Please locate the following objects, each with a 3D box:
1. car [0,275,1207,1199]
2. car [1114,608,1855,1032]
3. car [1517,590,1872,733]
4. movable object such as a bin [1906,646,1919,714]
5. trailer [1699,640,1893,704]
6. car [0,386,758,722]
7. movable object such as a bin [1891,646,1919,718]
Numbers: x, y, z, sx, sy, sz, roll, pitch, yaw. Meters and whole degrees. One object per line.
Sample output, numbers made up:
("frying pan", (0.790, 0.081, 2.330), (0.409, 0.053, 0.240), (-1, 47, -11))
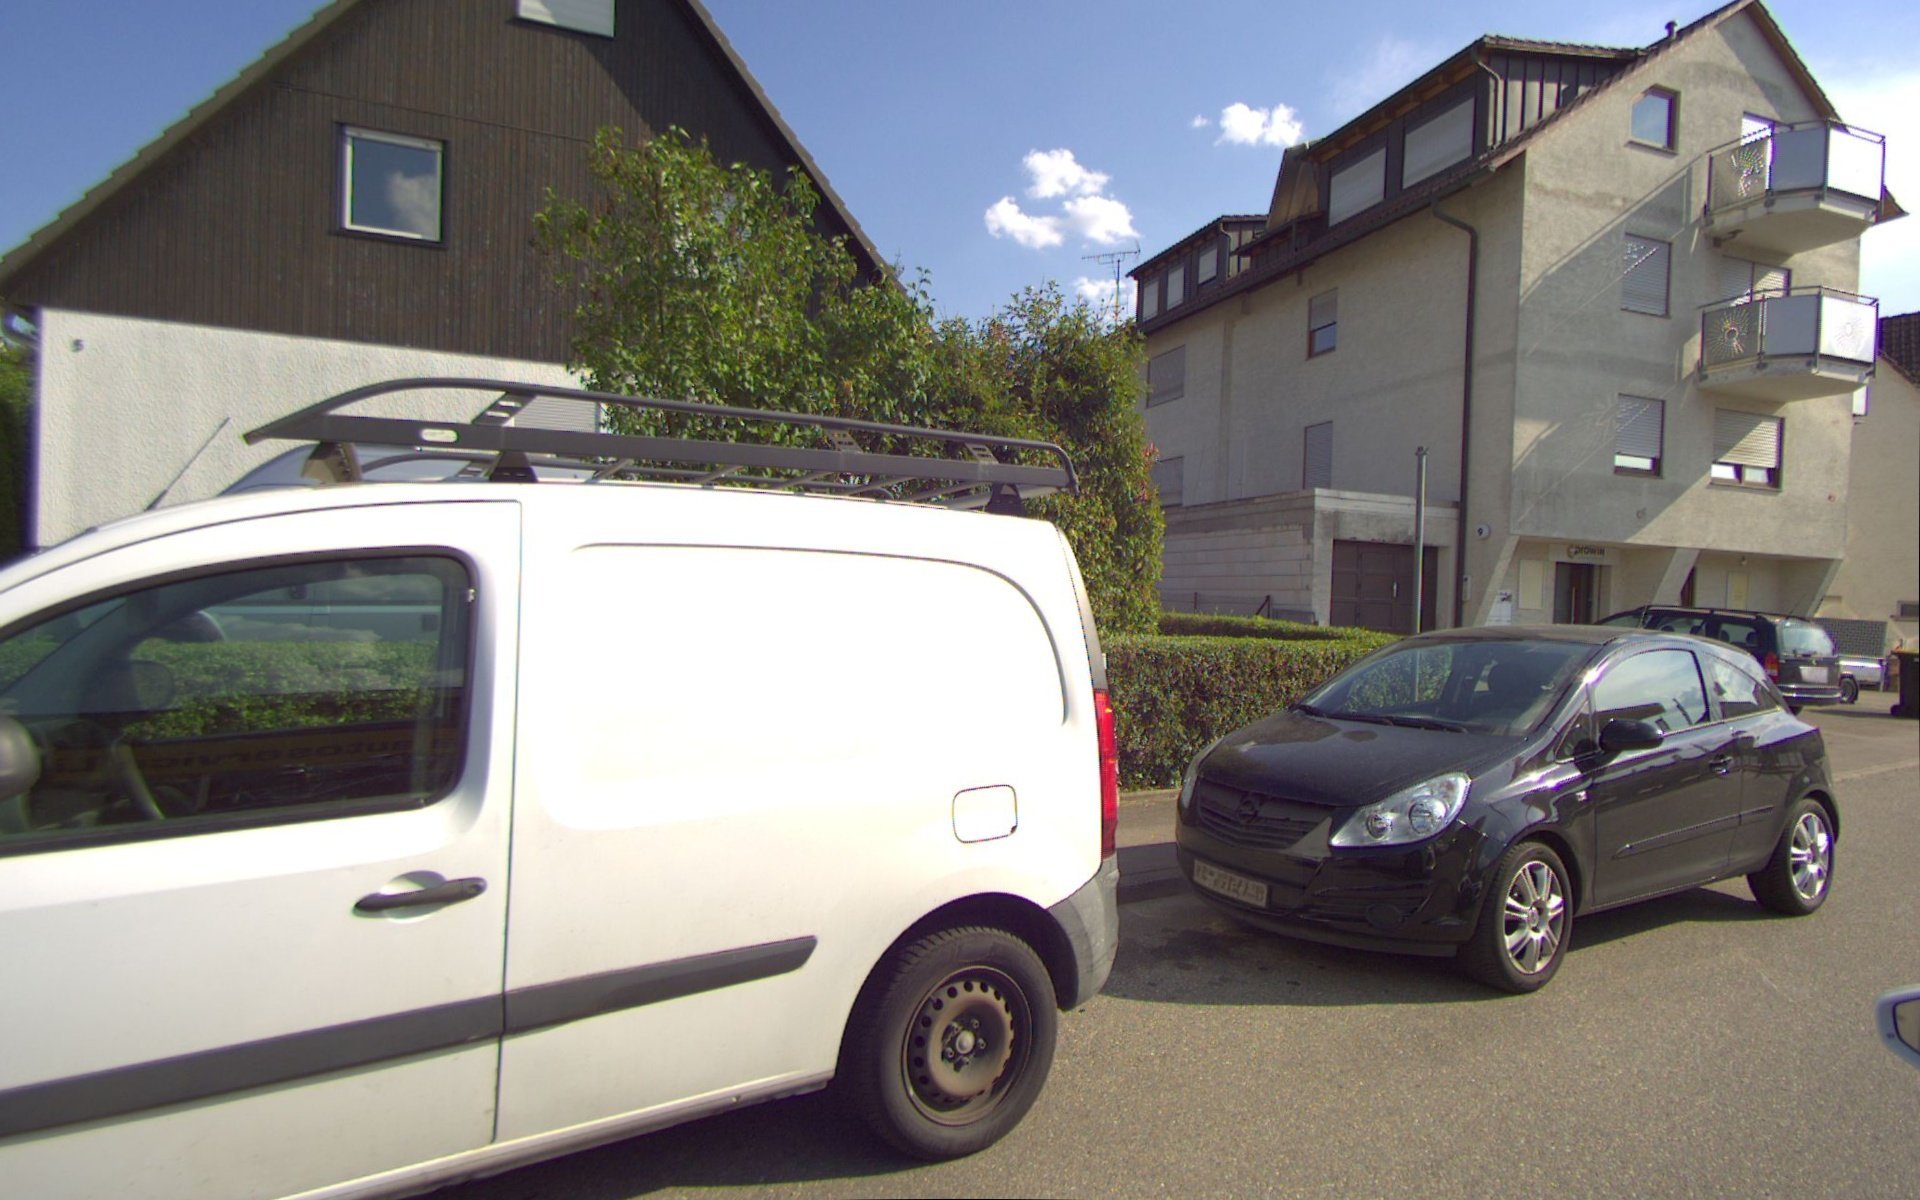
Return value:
("car", (-1.462, 0.425, 2.769), (4.143, 1.897, 1.708), (2, -1, -31))
("car", (2.821, 0.837, 5.230), (3.790, 1.471, 1.664), (2, 0, -31))
("car", (10.881, 0.815, 15.279), (1.736, 1.559, 3.981), (2, 5, -19))
("movable object such as a bin", (15.804, 1.315, 16.217), (0.551, 1.085, 0.567), (2, 3, -32))
("trailer", (15.563, 1.335, 18.726), (2.843, 0.866, 1.330), (5, 1, -15))
("car", (-5.317, -0.304, 10.180), (6.015, 2.631, 2.150), (2, 1, -27))
("movable object such as a bin", (15.317, 1.310, 15.928), (0.612, 1.085, 0.596), (2, 3, -32))
